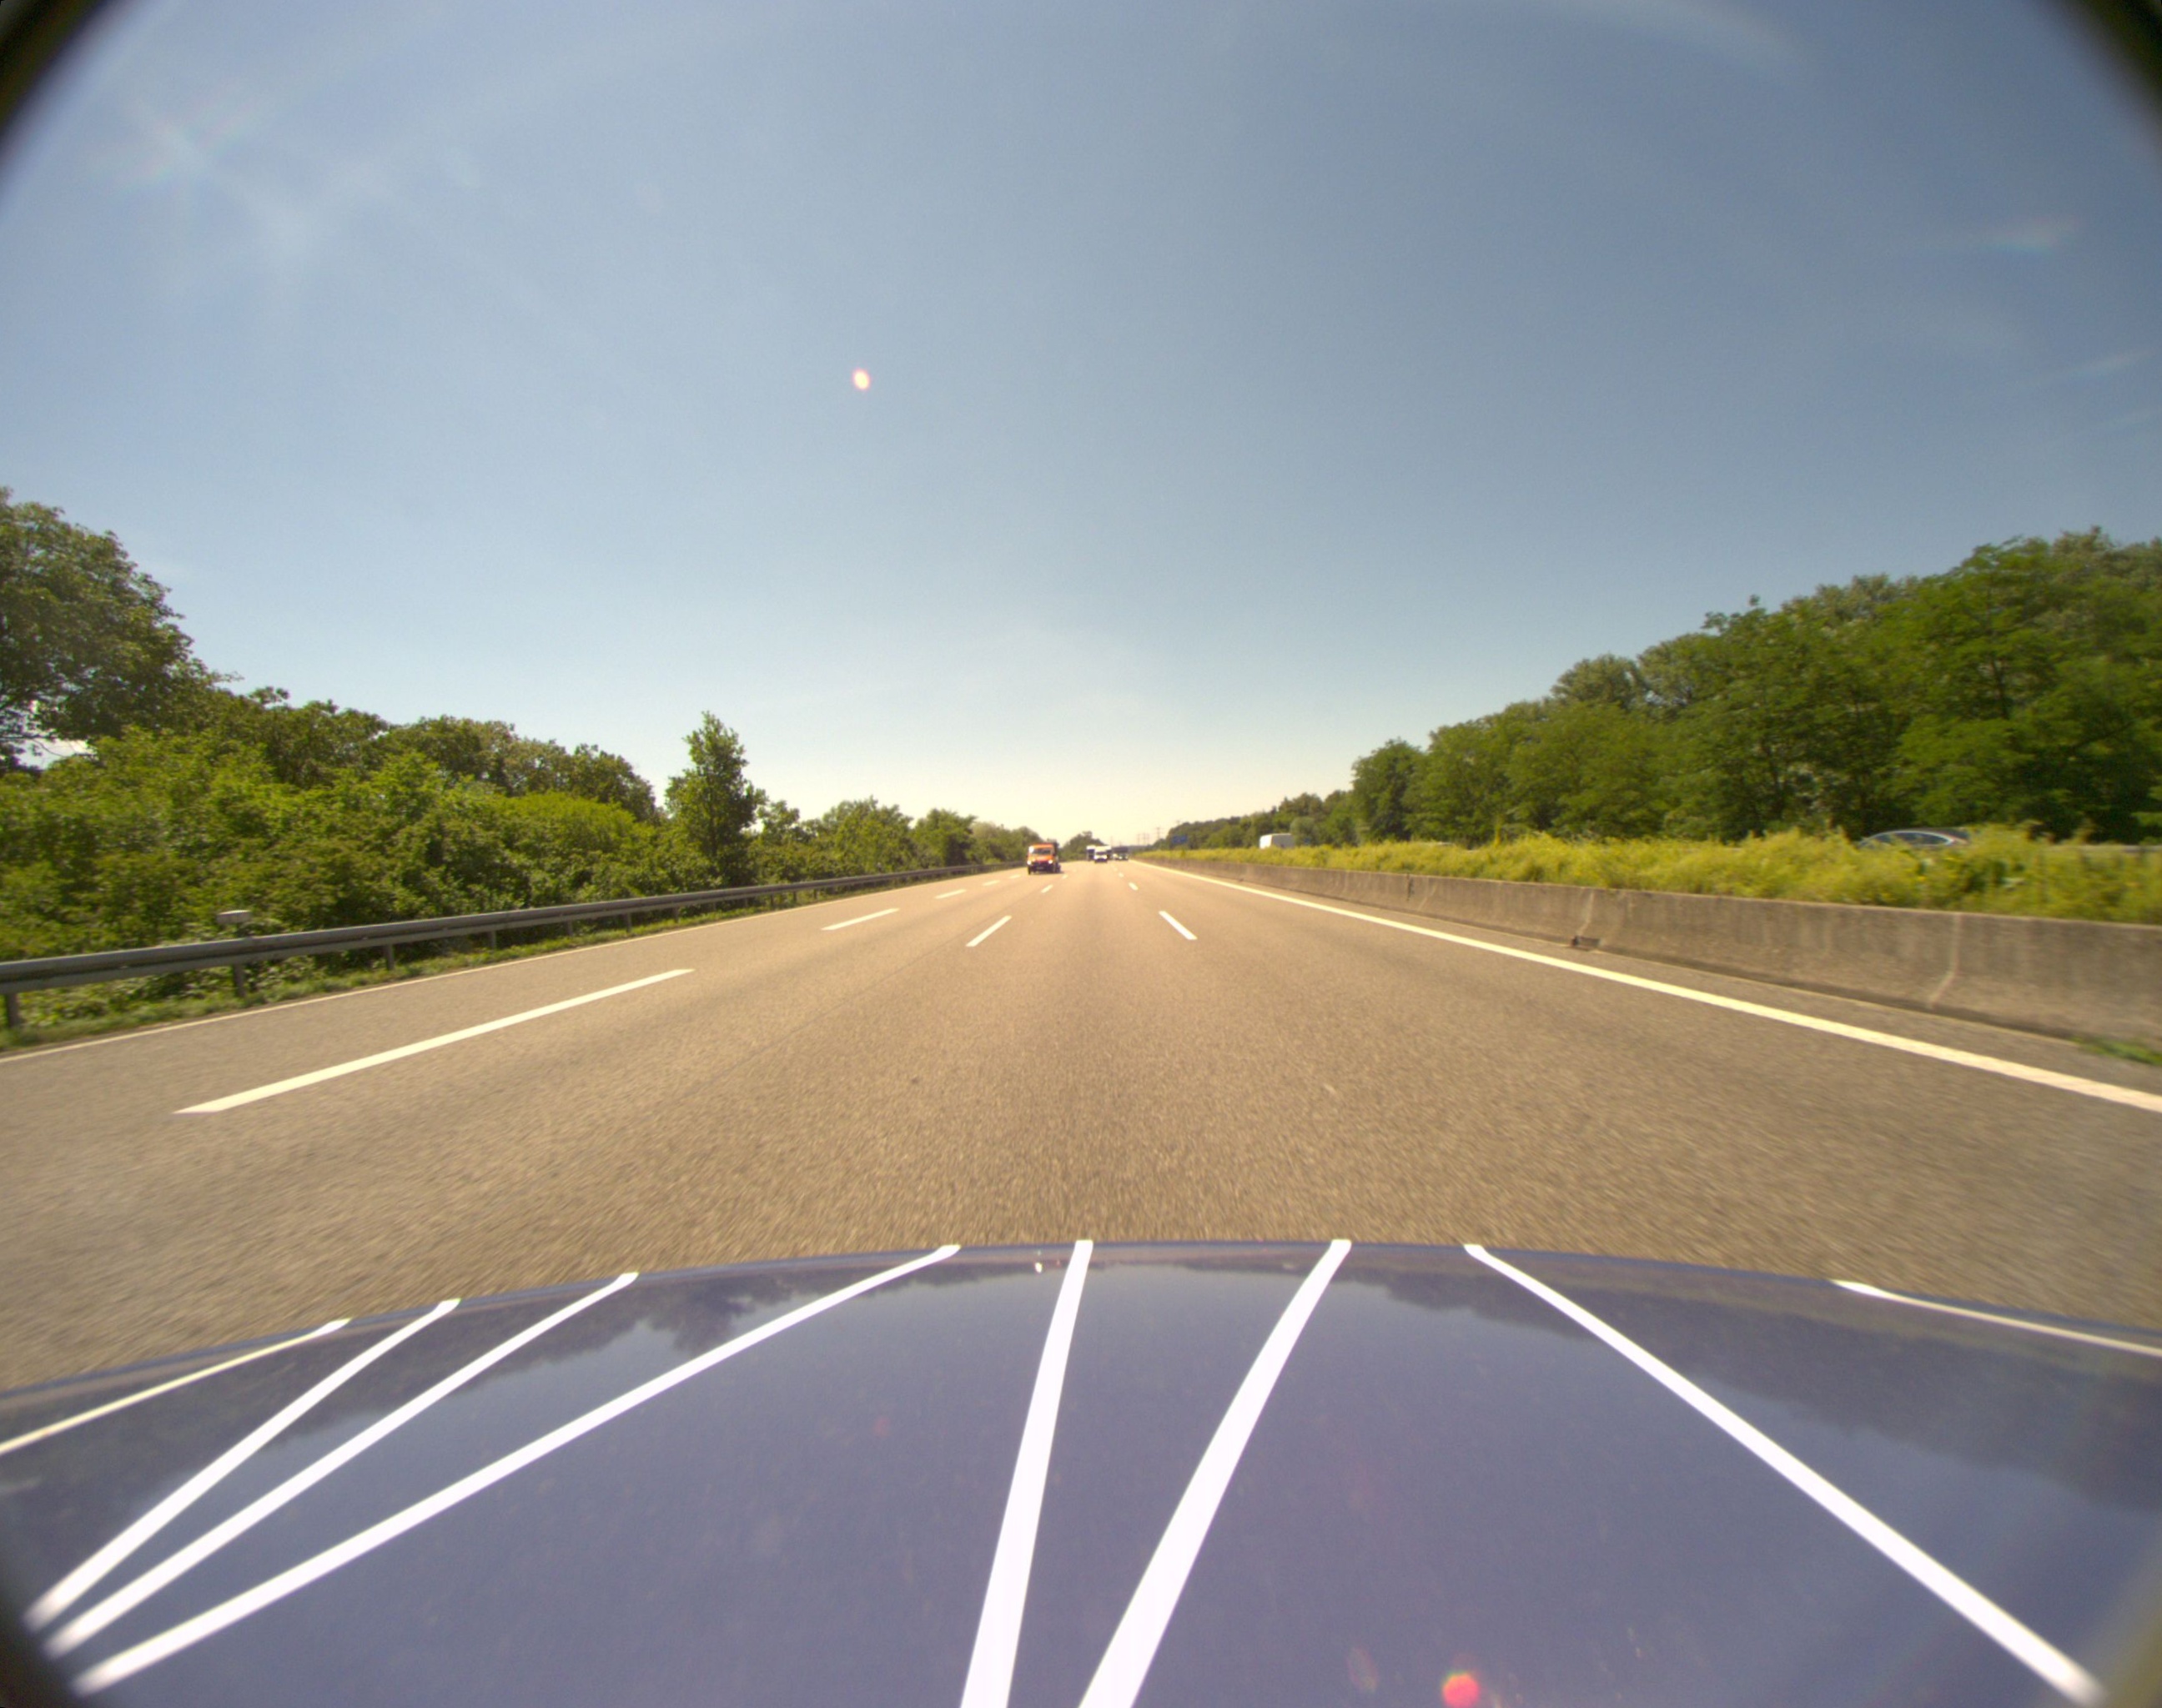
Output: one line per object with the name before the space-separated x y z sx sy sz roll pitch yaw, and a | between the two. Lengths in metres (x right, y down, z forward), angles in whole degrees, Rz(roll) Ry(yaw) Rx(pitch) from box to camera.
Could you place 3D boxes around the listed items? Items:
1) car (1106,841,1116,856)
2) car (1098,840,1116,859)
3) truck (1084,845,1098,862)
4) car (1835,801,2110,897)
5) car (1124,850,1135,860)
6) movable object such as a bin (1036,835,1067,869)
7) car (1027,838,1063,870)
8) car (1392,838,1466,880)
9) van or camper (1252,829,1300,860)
car | 8.695 -1.543 220.762 2.796 4.090 7.306 -2 1 2
car | 4.389 -0.735 126.584 2.521 2.856 6.402 -5 -1 5
truck | 2.830 -0.122 204.572 2.990 4.186 7.596 -3 0 5
car | 21.193 -0.123 18.369 1.998 2.002 4.000 -2 1 1
car | 9.662 0.234 152.479 1.998 2.001 4.001 -2 -1 1
movable object such as a bin | -2.611 -0.142 67.918 2.179 2.799 4.762 -2 0 4
car | -2.831 0.038 61.860 1.998 2.391 7.228 -2 0 4
car | 17.859 0.216 39.201 1.998 2.002 4.000 -2 1 1
van or camper | 16.117 -0.743 63.206 2.256 2.373 6.759 -2 0 1
